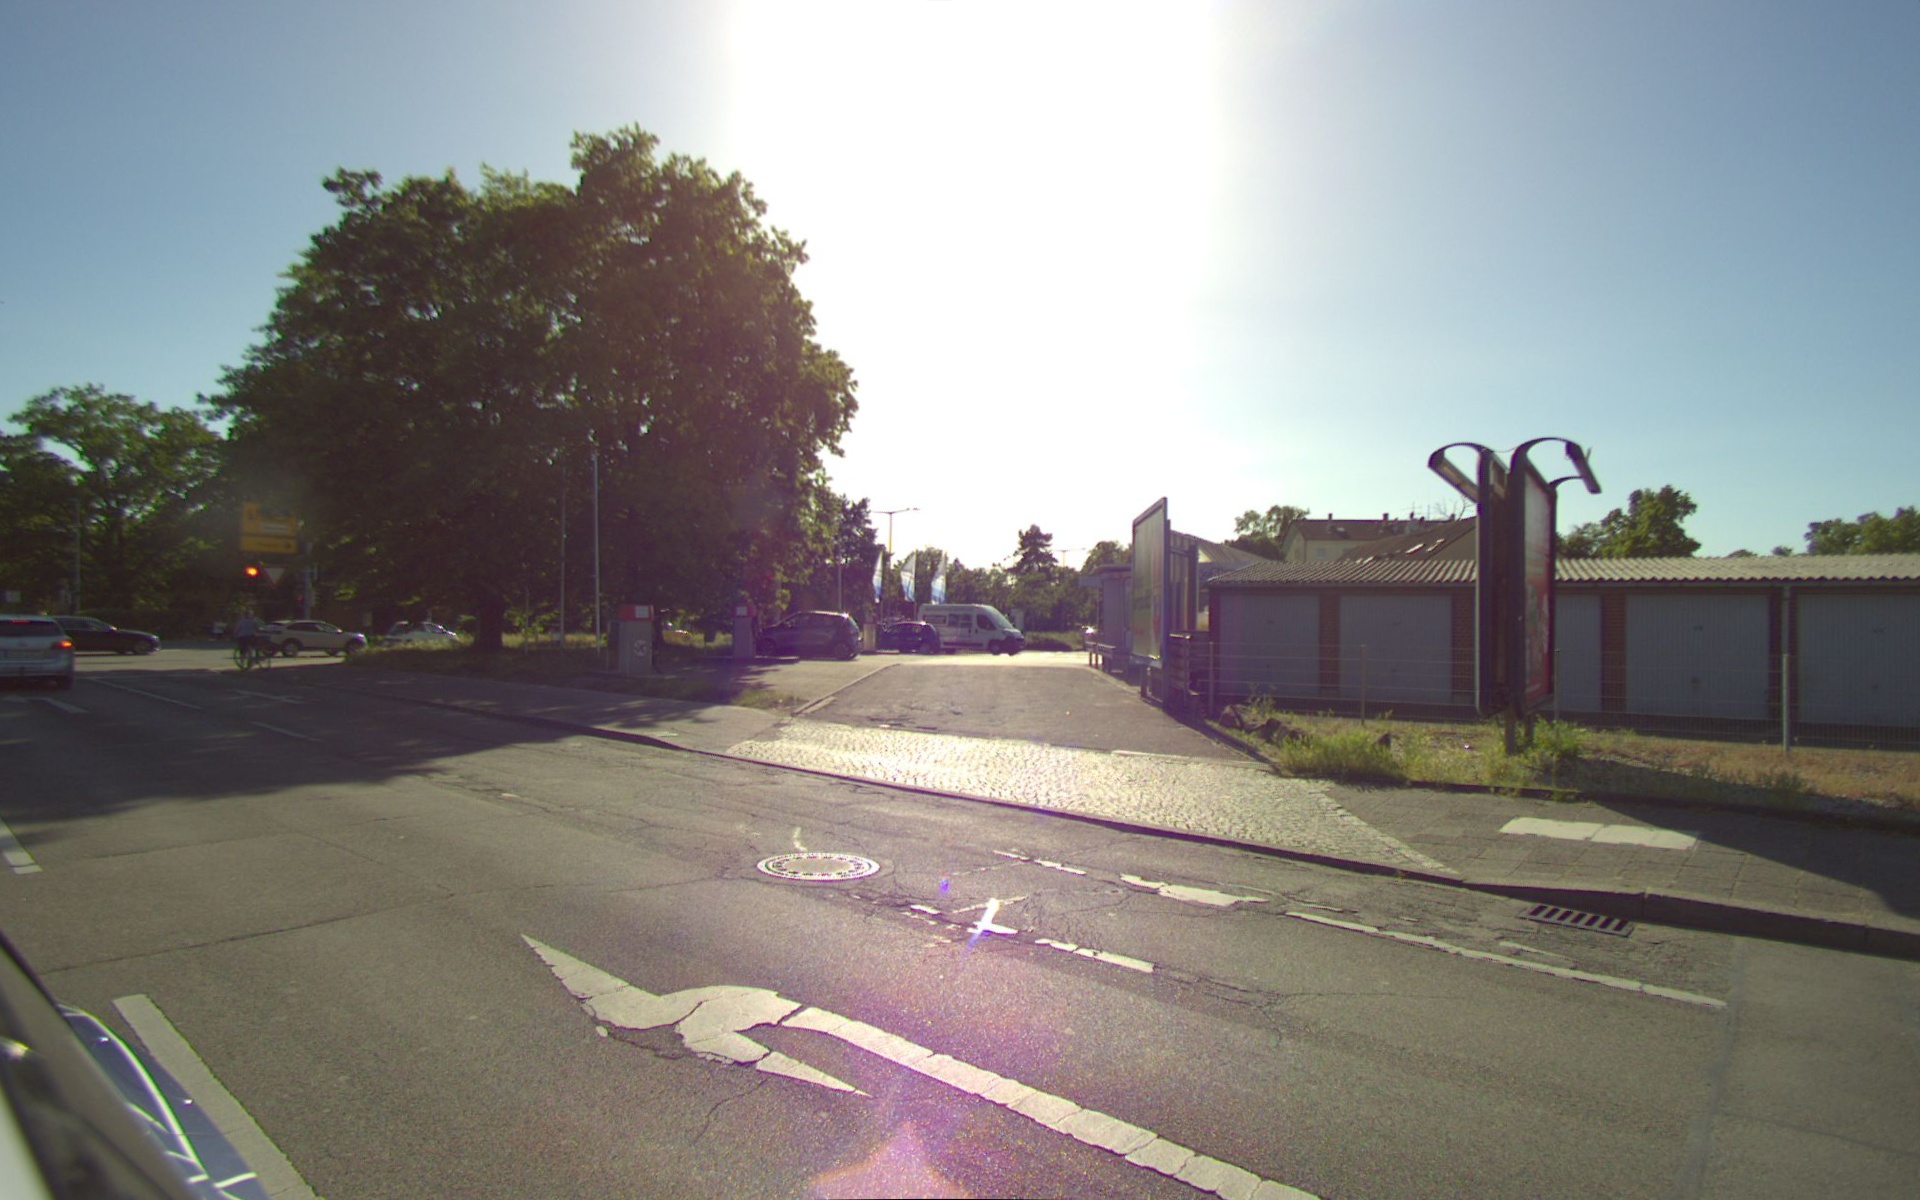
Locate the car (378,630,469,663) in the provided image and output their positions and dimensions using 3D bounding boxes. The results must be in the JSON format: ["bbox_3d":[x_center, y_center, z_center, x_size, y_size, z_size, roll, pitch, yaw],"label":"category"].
[{"bbox_3d":[-27.412,2.344,51.815,1.685,1.451,3.874,0,0,28],"label":"car"}]

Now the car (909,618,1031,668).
[{"bbox_3d":[0.477,2.095,49.649,5.622,2.115,1.983,2,-2,25],"label":"car"}]

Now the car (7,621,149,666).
[{"bbox_3d":[-34.275,1.720,39.484,3.934,1.552,1.628,4,-2,-35],"label":"car"}]

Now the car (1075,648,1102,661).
[{"bbox_3d":[15.677,6.634,123.597,1.834,1.405,4.323,2,-2,27],"label":"car"}]

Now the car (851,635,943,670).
[{"bbox_3d":[-2.803,2.350,45.413,3.863,1.347,1.568,3,-2,10],"label":"car"}]

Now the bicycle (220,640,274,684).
[{"bbox_3d":[-19.537,1.692,27.715,2.021,1.150,0.522,-1,-3,36],"label":"bicycle"}]

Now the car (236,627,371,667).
[{"bbox_3d":[-27.543,2.001,42.581,1.913,1.497,4.319,2,-2,30],"label":"car"}]

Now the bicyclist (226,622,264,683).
[{"bbox_3d":[-19.641,1.443,27.793,0.828,1.654,0.536,-1,-3,35],"label":"bicyclist"}]

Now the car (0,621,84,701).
[{"bbox_3d":[-19.637,1.188,20.709,4.887,1.500,1.817,-1,-4,41],"label":"car"}]

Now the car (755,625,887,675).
[{"bbox_3d":[-4.510,1.637,33.237,3.951,1.386,1.757,3,-2,6],"label":"car"}]

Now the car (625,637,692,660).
[{"bbox_3d":[-19.407,3.141,65.274,1.685,1.451,4.081,0,-3,28],"label":"car"}]
